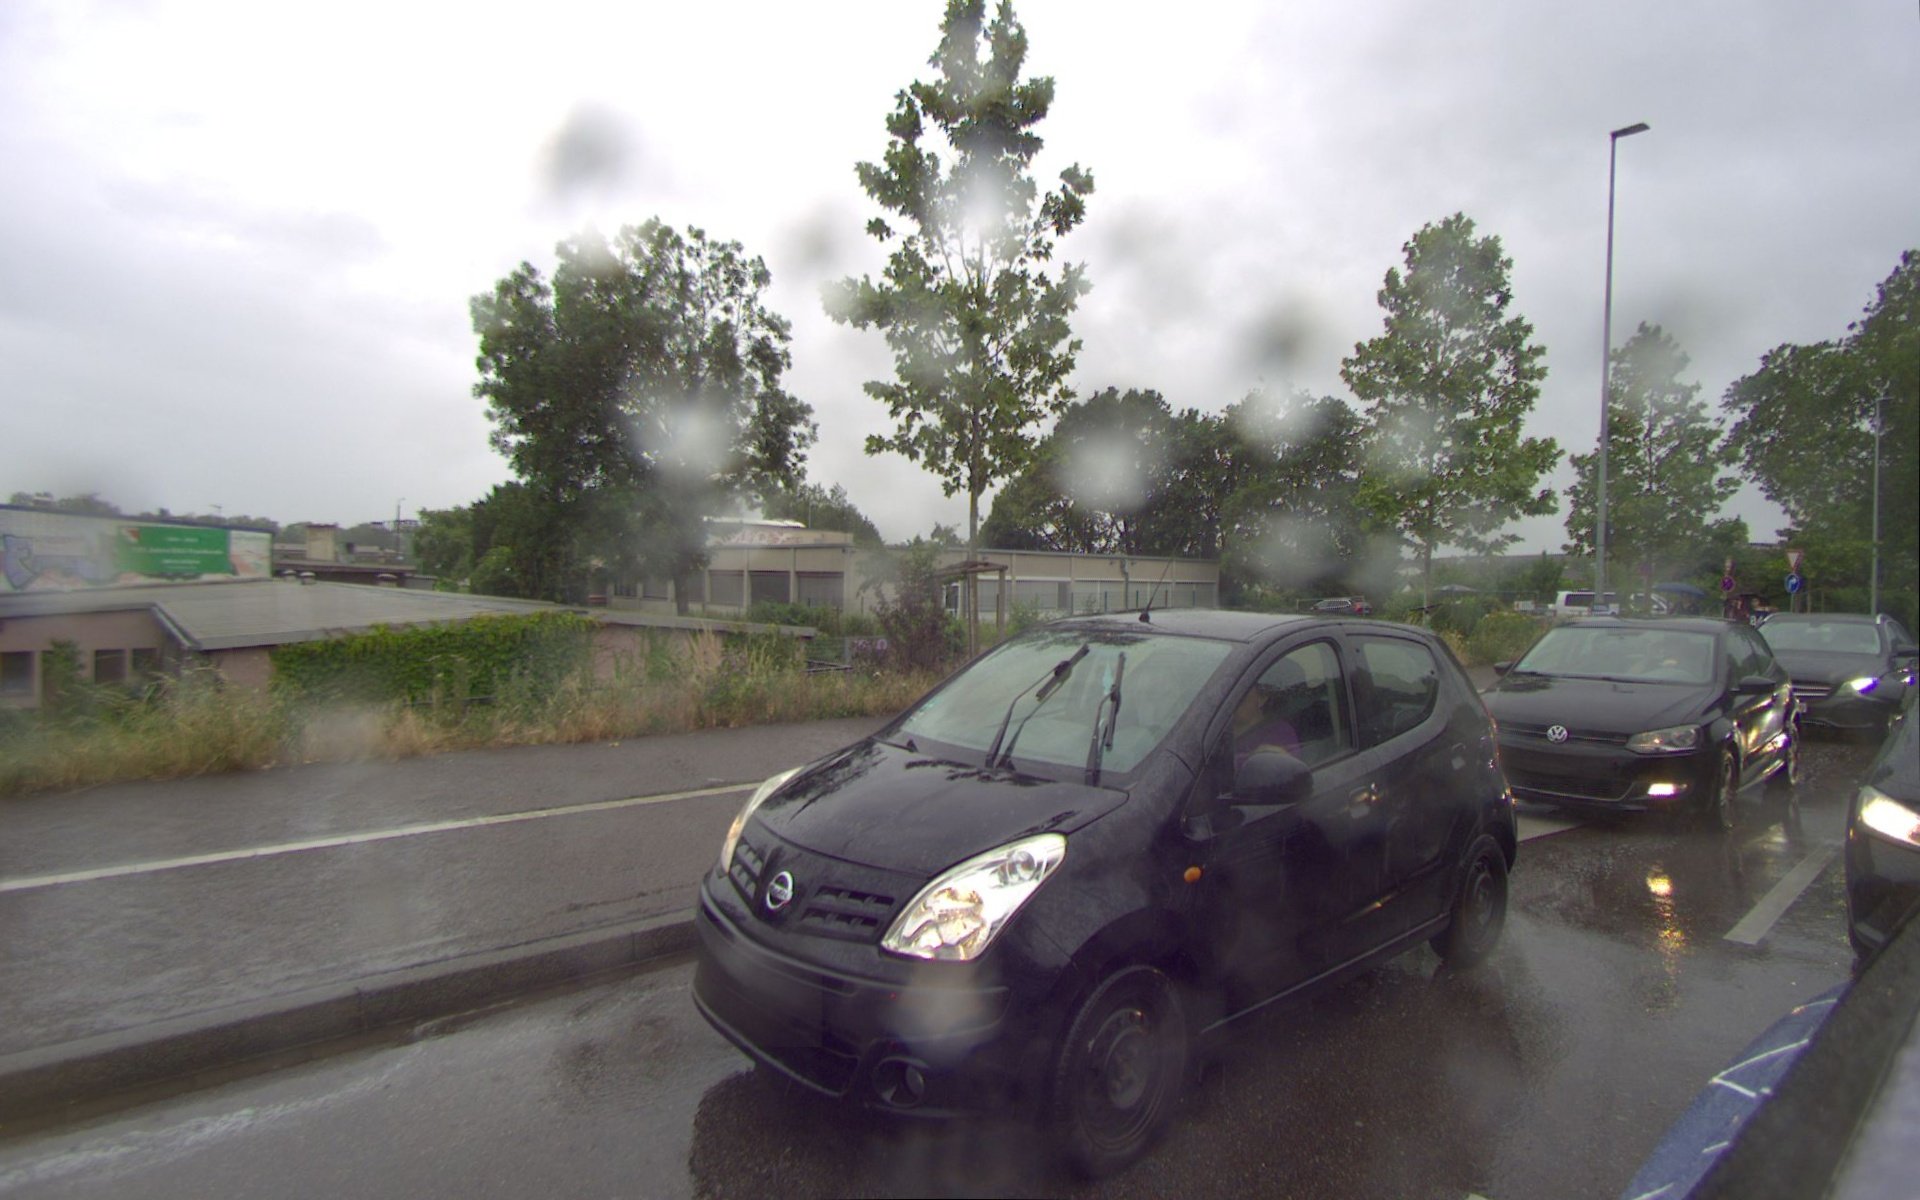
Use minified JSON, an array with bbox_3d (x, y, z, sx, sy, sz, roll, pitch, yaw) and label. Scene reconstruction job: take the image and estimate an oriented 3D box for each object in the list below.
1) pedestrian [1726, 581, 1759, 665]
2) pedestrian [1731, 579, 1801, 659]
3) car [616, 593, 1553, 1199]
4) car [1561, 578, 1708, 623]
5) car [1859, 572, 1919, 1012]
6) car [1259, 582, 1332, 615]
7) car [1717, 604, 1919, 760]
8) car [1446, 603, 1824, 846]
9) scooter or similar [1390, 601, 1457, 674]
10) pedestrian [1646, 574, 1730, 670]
[{"bbox_3d":[15.913,0.456,20.582,0.433,1.682,0.400,0,3,-42],"label":"pedestrian"},{"bbox_3d":[18.270,0.401,22.948,0.876,1.729,1.024,0,3,-41],"label":"pedestrian"},{"bbox_3d":[0.748,0.716,3.869,3.561,1.447,1.631,0,0,-42],"label":"car"},{"bbox_3d":[28.226,0.076,42.481,1.966,1.671,4.750,0,-3,-42],"label":"car"},{"bbox_3d":[5.482,0.682,4.512,4.091,1.607,1.688,-1,0,-41],"label":"car"},{"bbox_3d":[21.007,-0.104,63.475,1.964,2.039,3.996,0,0,-38],"label":"car"},{"bbox_3d":[10.943,0.877,12.587,3.747,1.594,1.697,-1,0,-41],"label":"car"},{"bbox_3d":[5.365,0.760,7.882,3.561,1.447,1.631,0,0,-42],"label":"car"},{"bbox_3d":[7.909,0.615,17.246,1.747,1.144,0.380,-1,2,-43],"label":"scooter or similar"},{"bbox_3d":[14.109,0.396,19.624,0.953,1.777,1.081,0,3,-42],"label":"pedestrian"}]
